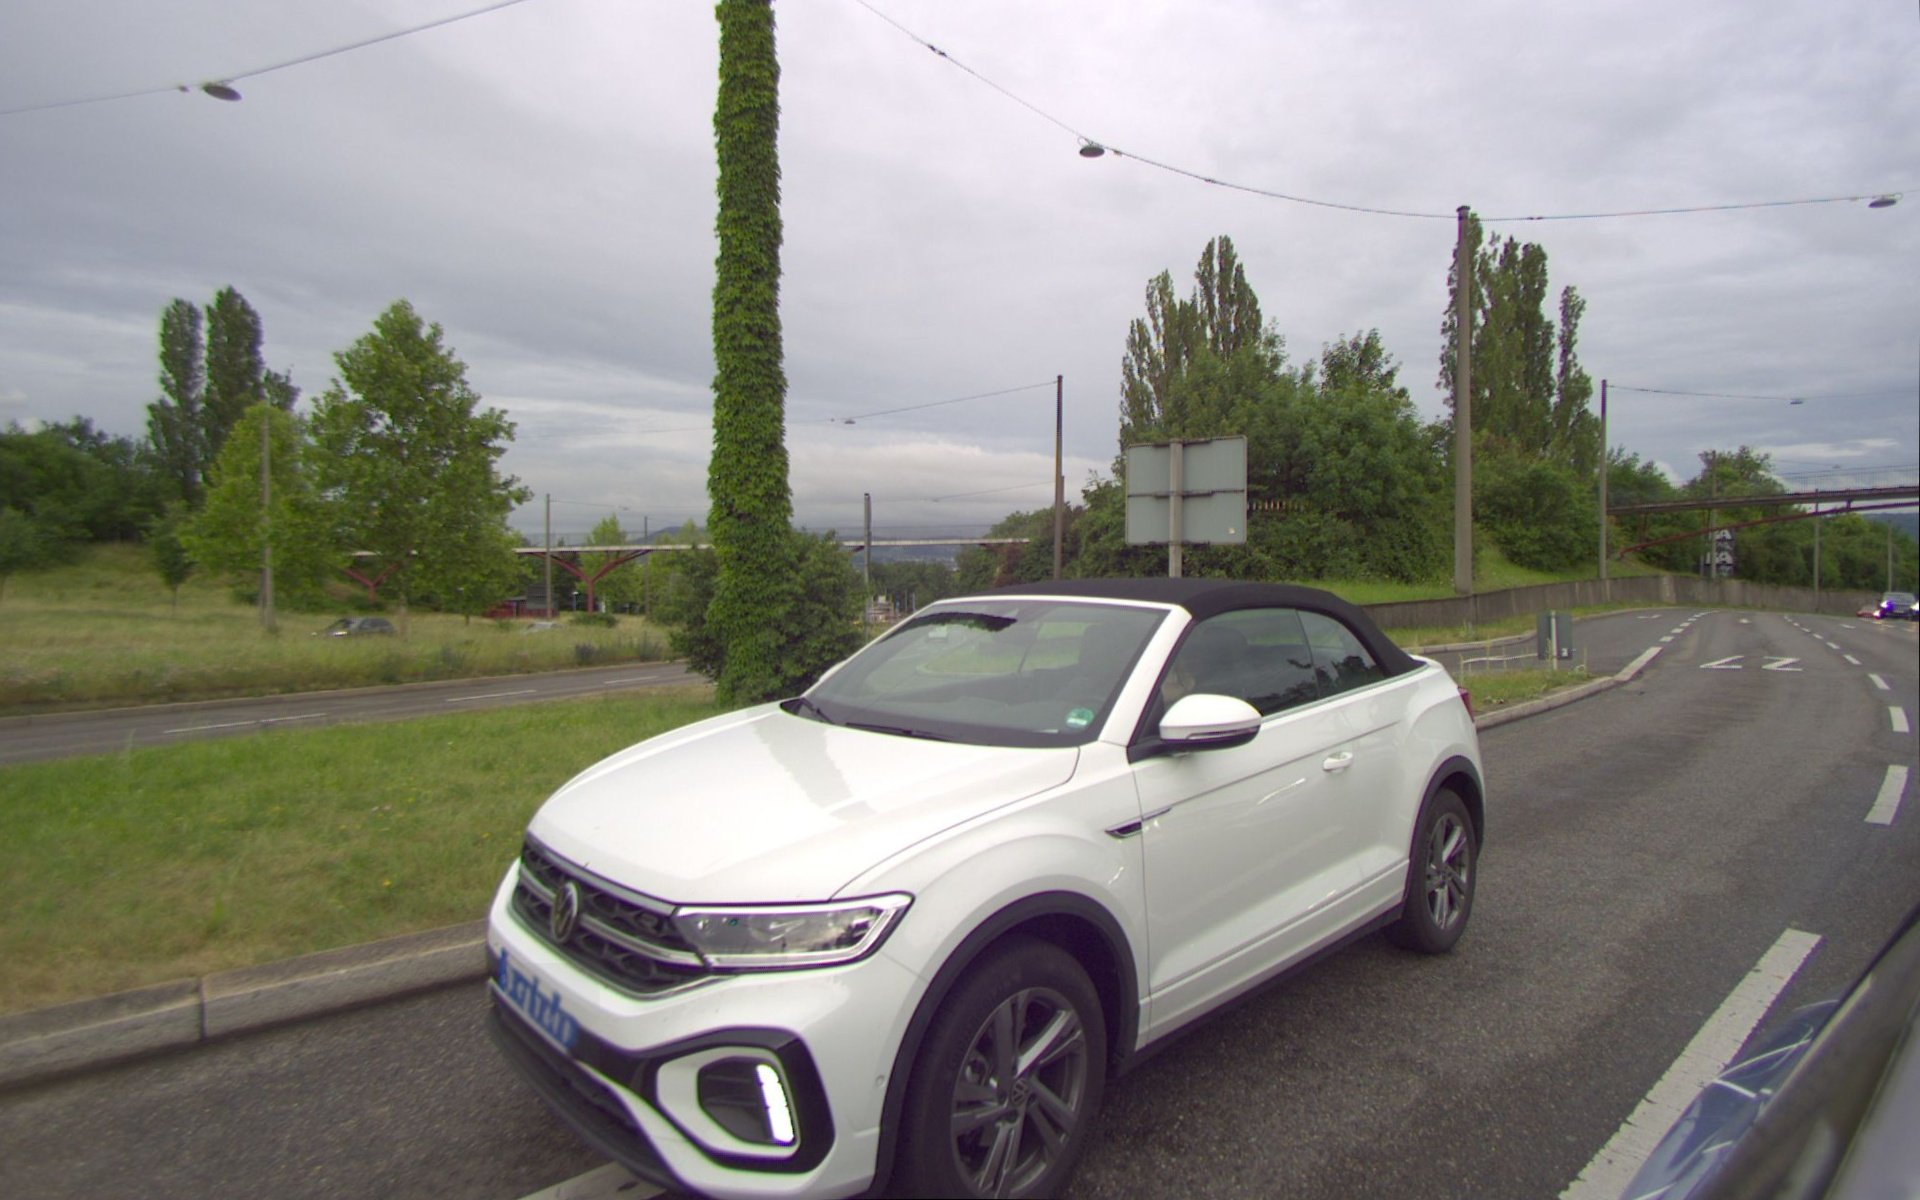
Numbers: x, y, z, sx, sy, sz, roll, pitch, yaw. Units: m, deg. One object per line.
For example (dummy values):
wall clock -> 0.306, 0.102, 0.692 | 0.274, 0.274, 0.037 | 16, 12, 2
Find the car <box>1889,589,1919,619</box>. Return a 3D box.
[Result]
car -> 55.892, 0.224, 59.418 | 1.906, 1.699, 3.937 | -3, -2, 43

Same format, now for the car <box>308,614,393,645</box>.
car -> -29.486, 1.410, 49.068 | 1.571, 1.428, 3.955 | -2, -2, 4

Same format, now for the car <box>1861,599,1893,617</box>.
car -> 89.674, 0.810, 98.949 | 3.933, 1.683, 1.995 | 0, -2, -44

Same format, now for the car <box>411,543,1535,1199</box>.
car -> 0.503, 0.632, 3.750 | 4.160, 1.572, 1.715 | -2, 1, -44

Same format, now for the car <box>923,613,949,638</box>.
car -> -2.051, 2.078, 83.769 | 1.960, 1.872, 4.827 | 0, 0, -4
